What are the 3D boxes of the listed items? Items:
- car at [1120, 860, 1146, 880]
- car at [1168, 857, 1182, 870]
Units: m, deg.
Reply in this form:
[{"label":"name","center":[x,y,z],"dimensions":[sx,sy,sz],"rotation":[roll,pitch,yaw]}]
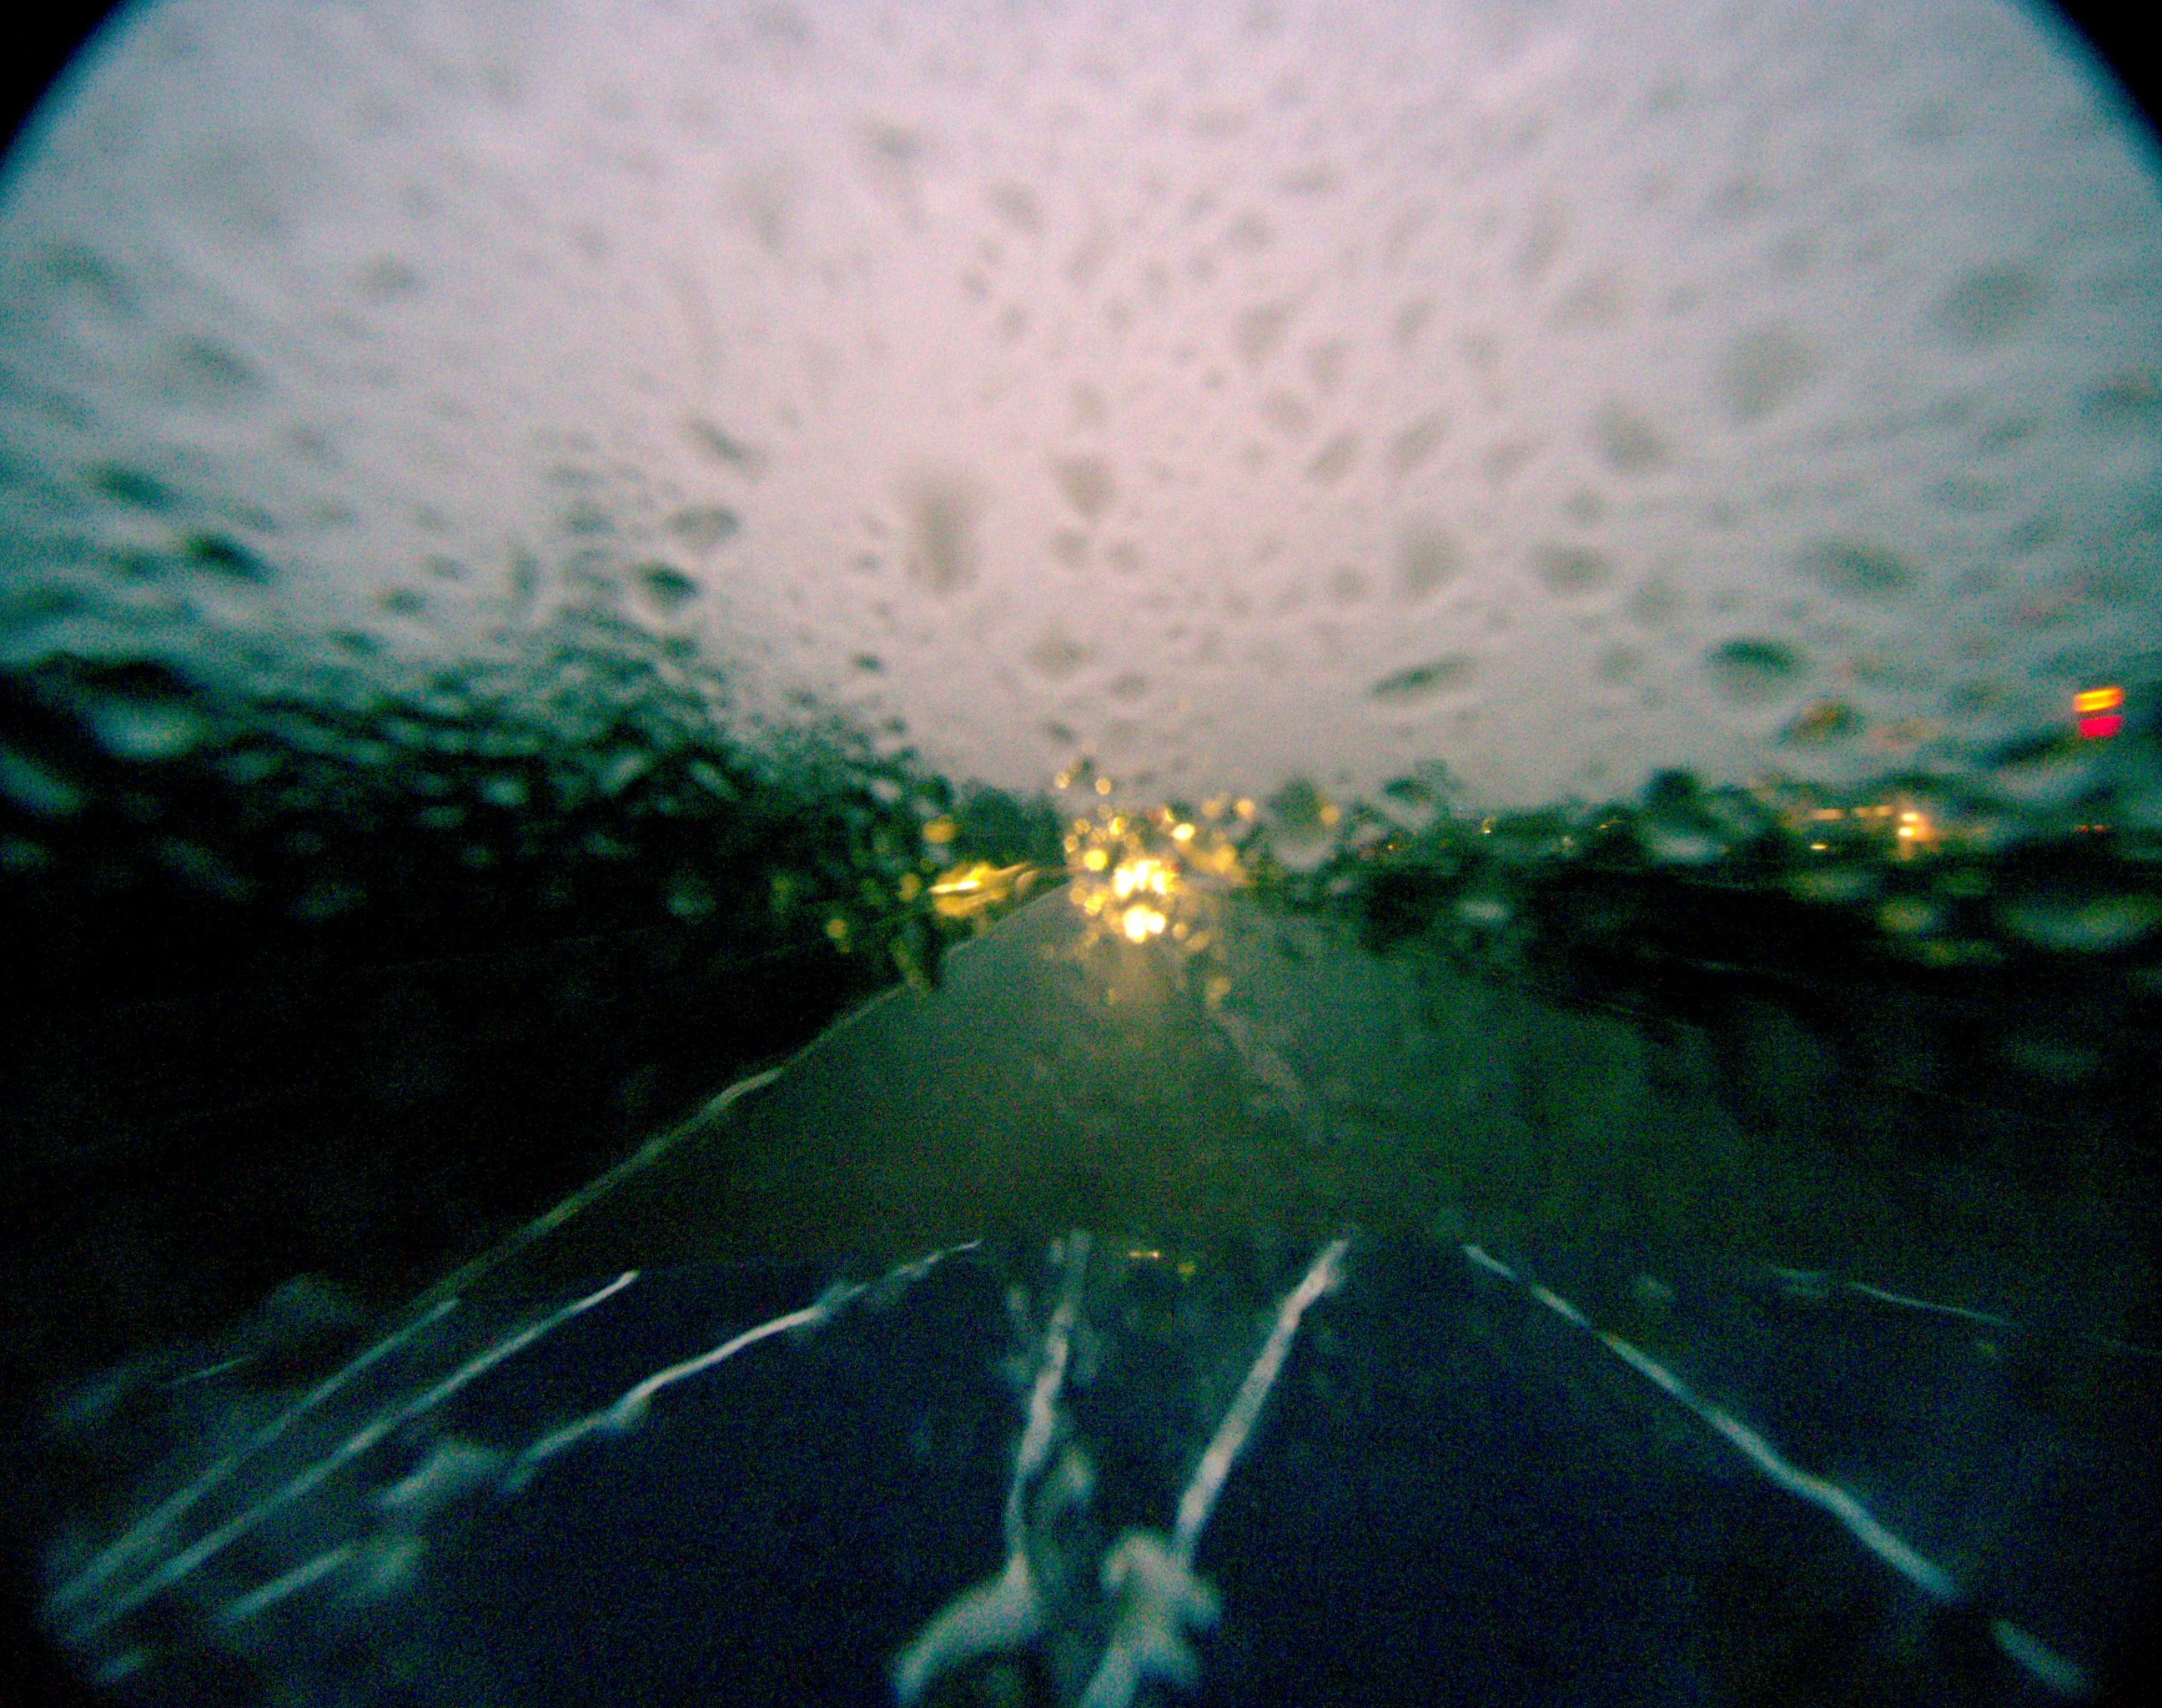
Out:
[{"label":"car","center":[4.351,1.343,64.078],"dimensions":[1.886,1.513,4.001],"rotation":[-3,0,1]},{"label":"car","center":[14.201,1.457,114.683],"dimensions":[1.998,1.838,3.674],"rotation":[-2,0,6]}]
